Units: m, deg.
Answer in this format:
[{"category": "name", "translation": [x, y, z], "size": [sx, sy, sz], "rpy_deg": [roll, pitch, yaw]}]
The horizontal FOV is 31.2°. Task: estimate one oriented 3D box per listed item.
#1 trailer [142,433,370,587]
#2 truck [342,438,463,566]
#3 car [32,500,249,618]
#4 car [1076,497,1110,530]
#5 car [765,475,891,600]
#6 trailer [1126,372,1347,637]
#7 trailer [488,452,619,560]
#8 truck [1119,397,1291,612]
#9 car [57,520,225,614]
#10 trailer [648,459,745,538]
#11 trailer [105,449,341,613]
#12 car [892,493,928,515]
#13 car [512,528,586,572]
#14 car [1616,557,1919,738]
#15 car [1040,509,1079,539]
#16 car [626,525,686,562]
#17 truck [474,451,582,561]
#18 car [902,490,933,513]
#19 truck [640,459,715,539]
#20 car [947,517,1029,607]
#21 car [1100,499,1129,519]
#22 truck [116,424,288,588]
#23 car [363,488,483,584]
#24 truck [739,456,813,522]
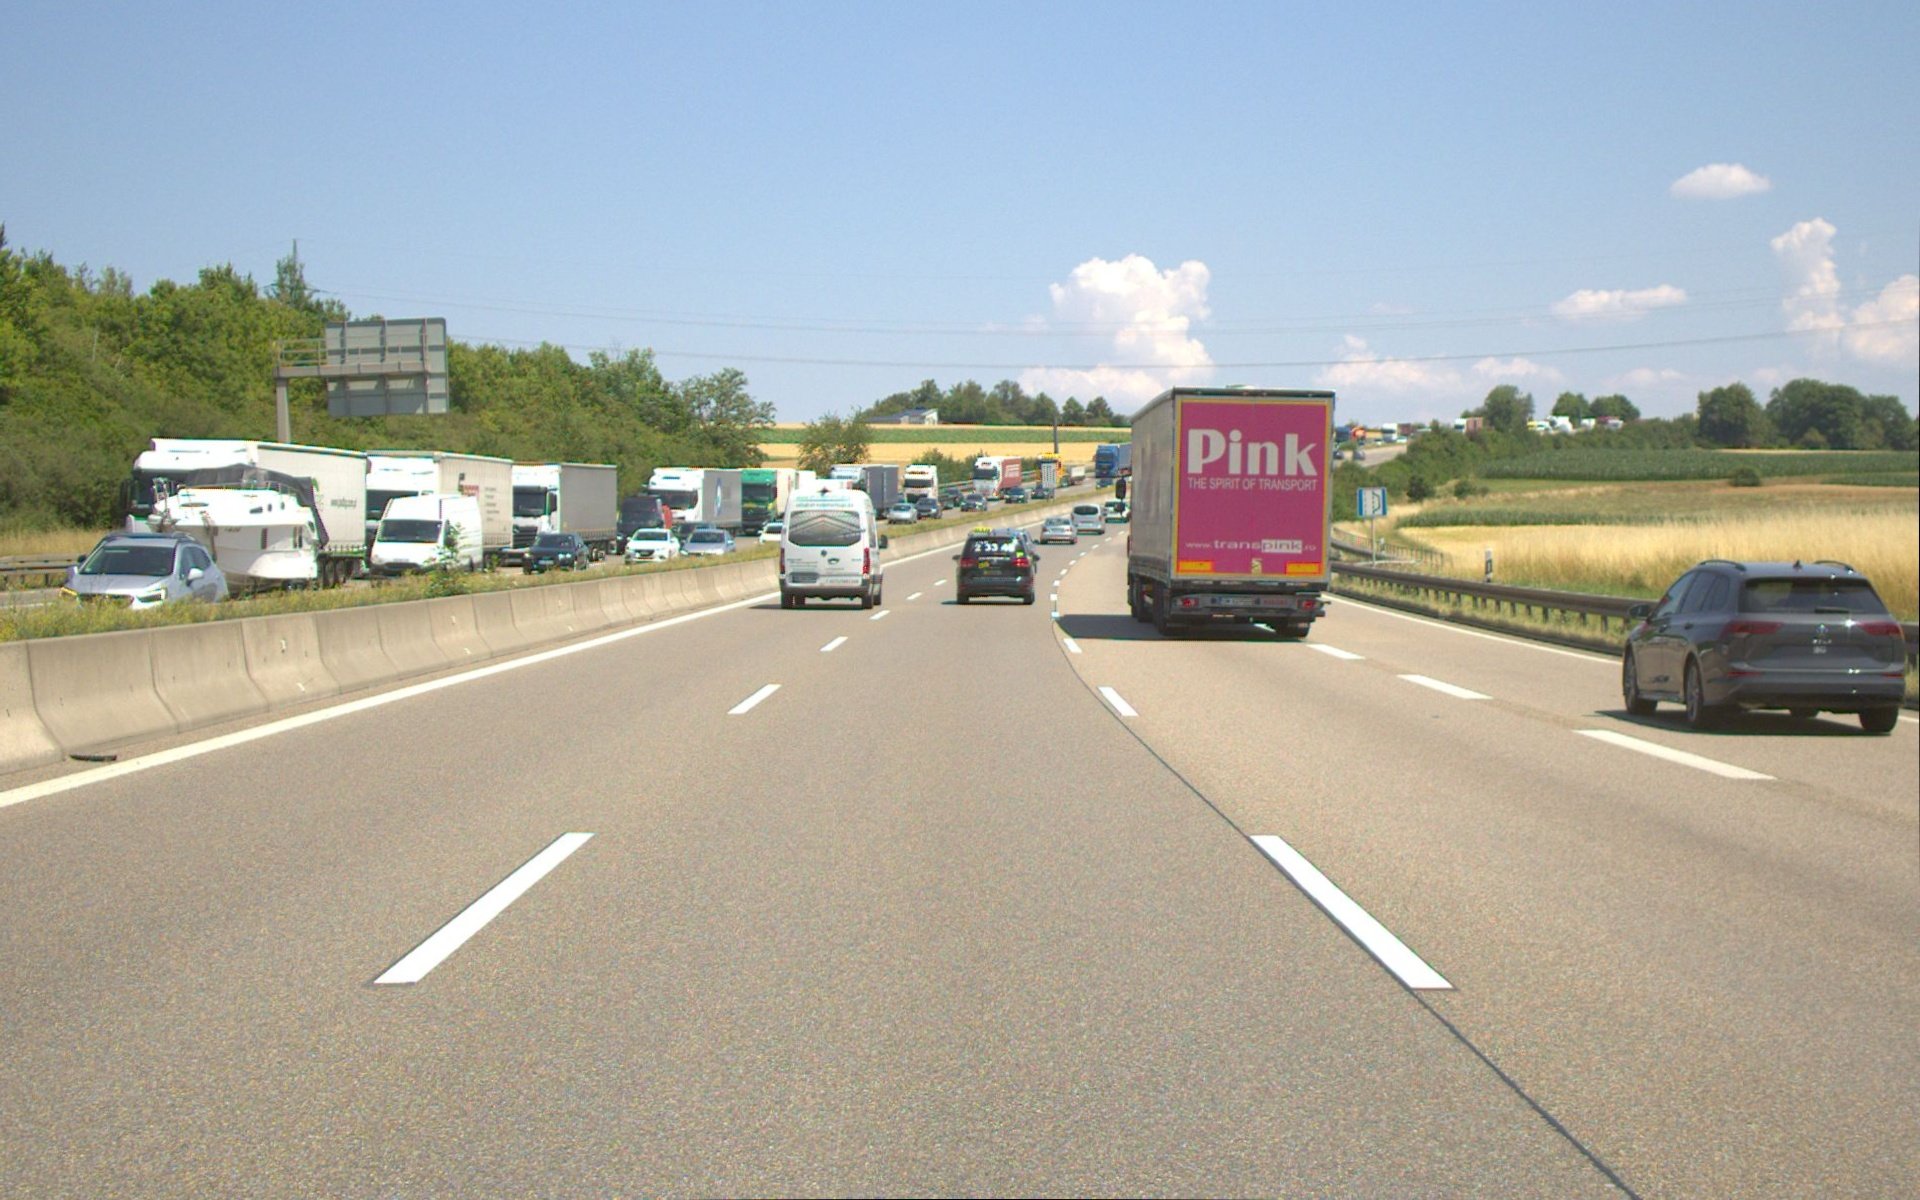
[{"category": "trailer", "translation": [-18.888, -2.420, 93.364], "size": [2.903, 3.860, 13.877], "rpy_deg": [0, 1, 2]}, {"category": "truck", "translation": [-18.156, -3.210, 112.269], "size": [2.755, 4.029, 6.099], "rpy_deg": [1, 2, 1]}, {"category": "car", "translation": [-12.052, -0.611, 50.845], "size": [1.842, 1.671, 4.441], "rpy_deg": [0, 1, 4]}, {"category": "car", "translation": [8.053, -5.215, 207.891], "size": [1.994, 1.897, 4.000], "rpy_deg": [1, 1, 3]}, {"category": "car", "translation": [-2.846, -1.338, 75.135], "size": [2.180, 2.616, 4.671], "rpy_deg": [1, 1, 5]}, {"category": "trailer", "translation": [4.668, -1.739, 60.850], "size": [2.918, 4.103, 13.859], "rpy_deg": [1, 2, 1]}, {"category": "trailer", "translation": [-16.647, -3.857, 141.955], "size": [2.982, 4.192, 14.193], "rpy_deg": [1, 1, 3]}, {"category": "truck", "translation": [4.751, -1.910, 67.752], "size": [2.916, 3.994, 6.511], "rpy_deg": [1, 2, 0]}, {"category": "car", "translation": [-15.494, -0.638, 65.281], "size": [2.107, 1.717, 4.932], "rpy_deg": [0, 1, -1]}, {"category": "trailer", "translation": [-13.958, -5.444, 183.396], "size": [2.903, 4.072, 14.444], "rpy_deg": [0, 2, 5]}, {"category": "trailer", "translation": [-15.466, -1.411, 72.976], "size": [2.869, 3.172, 10.730], "rpy_deg": [1, 1, -1]}, {"category": "car", "translation": [-3.553, -6.774, 243.288], "size": [1.961, 1.455, 4.246], "rpy_deg": [1, 1, 7]}, {"category": "car", "translation": [-14.350, -1.768, 120.207], "size": [1.876, 1.429, 4.925], "rpy_deg": [1, 1, 1]}, {"category": "car", "translation": [7.106, 0.370, 30.553], "size": [1.761, 1.466, 4.536], "rpy_deg": [1, 1, 1]}, {"category": "car", "translation": [5.274, -4.037, 181.964], "size": [1.993, 1.579, 4.000], "rpy_deg": [0, 2, 1]}, {"category": "car", "translation": [-12.295, -2.292, 139.231], "size": [1.881, 1.469, 4.406], "rpy_deg": [0, 1, 2]}, {"category": "truck", "translation": [-16.960, -3.687, 135.350], "size": [2.962, 4.195, 6.603], "rpy_deg": [1, 1, 4]}, {"category": "car", "translation": [-3.152, -7.345, 256.802], "size": [1.861, 1.636, 5.113], "rpy_deg": [0, 1, 4]}, {"category": "truck", "translation": [-14.486, -5.195, 176.449], "size": [2.853, 4.022, 6.604], "rpy_deg": [0, 2, 4]}, {"category": "car", "translation": [0.681, -0.911, 80.272], "size": [1.847, 1.854, 4.206], "rpy_deg": [0, 4, 2]}, {"category": "car", "translation": [10.950, -6.474, 243.733], "size": [1.994, 1.305, 4.000], "rpy_deg": [0, 3, 2]}, {"category": "truck", "translation": [-19.107, -2.358, 86.943], "size": [2.848, 3.993, 5.974], "rpy_deg": [0, 1, 2]}, {"category": "car", "translation": [-14.876, -1.784, 95.638], "size": [1.897, 2.565, 7.572], "rpy_deg": [0, 1, 2]}, {"category": "truck", "translation": [-11.158, -6.808, 209.790], "size": [2.843, 3.885, 11.246], "rpy_deg": [-1, 2, 5]}]
